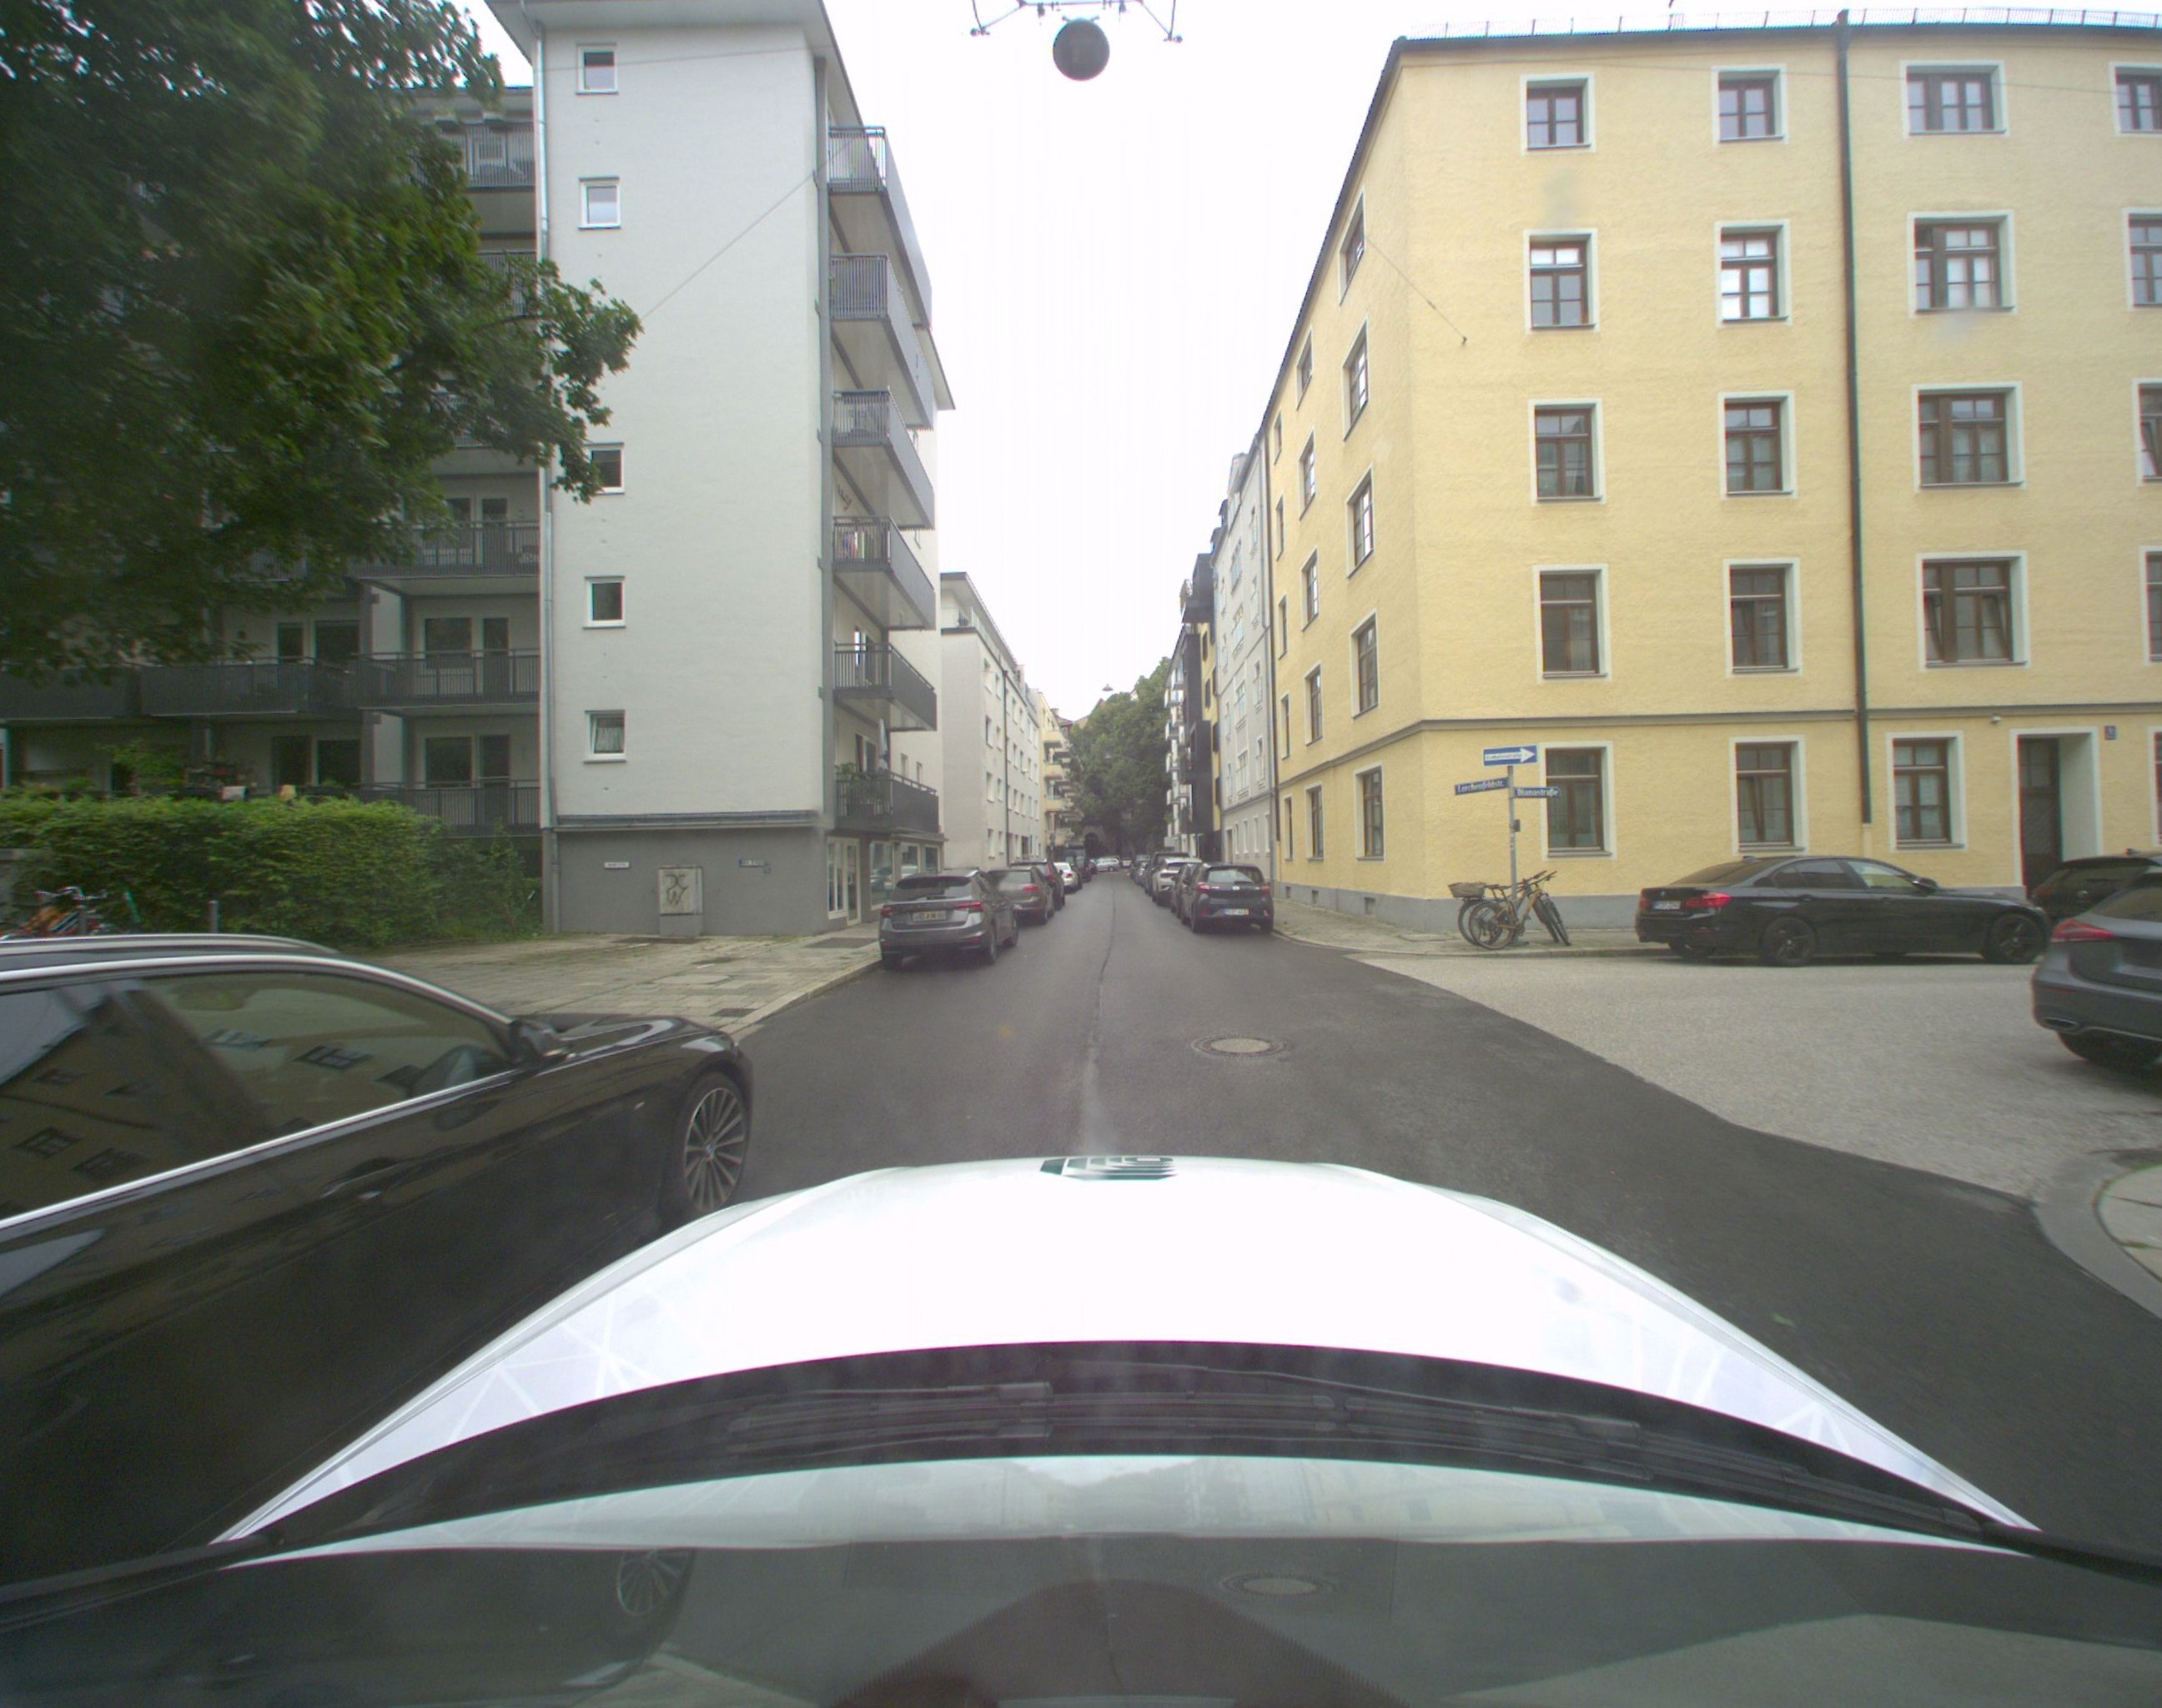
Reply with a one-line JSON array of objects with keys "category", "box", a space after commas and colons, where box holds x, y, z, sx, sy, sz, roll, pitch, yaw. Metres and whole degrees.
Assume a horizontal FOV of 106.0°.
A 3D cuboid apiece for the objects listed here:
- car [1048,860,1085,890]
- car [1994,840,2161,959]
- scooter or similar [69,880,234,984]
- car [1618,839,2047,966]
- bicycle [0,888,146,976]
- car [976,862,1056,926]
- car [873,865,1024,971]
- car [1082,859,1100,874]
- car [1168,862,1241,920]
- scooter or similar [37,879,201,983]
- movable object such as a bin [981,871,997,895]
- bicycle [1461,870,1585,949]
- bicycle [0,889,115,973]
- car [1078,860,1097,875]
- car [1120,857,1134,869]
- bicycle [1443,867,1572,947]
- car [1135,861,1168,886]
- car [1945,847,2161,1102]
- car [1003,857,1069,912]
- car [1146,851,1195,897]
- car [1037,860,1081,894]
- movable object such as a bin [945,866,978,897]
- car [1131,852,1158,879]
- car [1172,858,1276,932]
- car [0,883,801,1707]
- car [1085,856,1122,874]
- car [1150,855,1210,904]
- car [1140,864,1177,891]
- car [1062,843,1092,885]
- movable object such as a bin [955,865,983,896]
[{"category": "car", "box": [-0.755, 1.146, 45.482, 1.770, 1.453, 4.047, -4, 0, 1]}, {"category": "car", "box": [15.384, 0.582, 11.049, 3.959, 1.494, 1.712, -1, -3, 1]}, {"category": "scooter or similar", "box": [-12.122, 0.978, 10.691, 0.320, 1.202, 1.570, -2, 0, 1]}, {"category": "car", "box": [9.913, 0.617, 10.988, 4.199, 1.494, 1.711, -1, -1, -1]}, {"category": "bicycle", "box": [-13.826, 1.026, 11.038, 0.422, 1.039, 1.608, -2, 0, 1]}, {"category": "car", "box": [-1.608, 0.981, 21.417, 1.687, 1.442, 3.977, -2, 0, 0]}, {"category": "car", "box": [-2.055, 0.949, 13.751, 1.686, 1.442, 3.944, -2, 0, 2]}, {"category": "car", "box": [1.022, 1.280, 82.592, 1.636, 1.383, 3.483, -4, 0, 1]}, {"category": "car", "box": [3.426, 0.984, 23.164, 1.657, 1.469, 3.821, 1, 0, 3]}, {"category": "scooter or similar", "box": [-12.919, 0.986, 11.000, 0.343, 1.244, 1.546, -2, 0, 1]}, {"category": "movable object such as a bin", "box": [-4.074, 1.274, 36.139, 0.649, 1.020, 0.584, 0, -1, -4]}, {"category": "bicycle", "box": [6.887, 0.856, 12.713, 1.707, 1.139, 0.374, -3, 1, 0]}, {"category": "bicycle", "box": [-14.343, 1.036, 11.052, 0.512, 1.039, 1.608, -2, 0, 1]}, {"category": "car", "box": [0.659, 1.281, 78.751, 1.636, 1.383, 3.483, -4, 0, 1]}, {"category": "car", "box": [5.988, 1.153, 105.748, 1.636, 1.383, 3.747, -4, 0, 1]}, {"category": "bicycle", "box": [6.916, 0.852, 13.230, 1.802, 1.174, 0.505, -3, 1, -1]}, {"category": "car", "box": [4.502, 1.223, 52.565, 1.822, 1.454, 4.417, 2, 0, 2]}, {"category": "car", "box": [8.269, 0.663, 4.870, 4.192, 1.399, 1.999, -1, 1, -2]}, {"category": "car", "box": [-1.421, 0.946, 27.243, 1.770, 1.629, 4.416, -2, 0, 1]}, {"category": "car", "box": [3.926, 0.852, 36.290, 1.822, 1.910, 4.417, 1, 0, 2]}, {"category": "car", "box": [-1.023, 1.086, 40.380, 1.770, 1.487, 4.522, -4, 0, 2]}, {"category": "movable object such as a bin", "box": [-5.365, 1.231, 36.637, 1.161, 1.337, 1.026, -4, -1, 4]}, {"category": "car", "box": [4.866, 0.876, 62.868, 1.822, 1.999, 4.417, 2, 0, 2]}, {"category": "car", "box": [3.179, 0.856, 18.854, 1.744, 1.469, 4.344, 1, 0, 2]}, {"category": "car", "box": [-2.506, 0.882, 2.076, 1.848, 1.408, 4.385, -2, 0, 2]}, {"category": "car", "box": [2.468, 1.193, 88.628, 3.873, 1.584, 1.648, -4, -1, 0]}, {"category": "car", "box": [3.395, 0.838, 28.681, 1.676, 1.567, 4.417, 1, 0, 1]}, {"category": "car", "box": [4.412, 1.320, 46.945, 1.822, 1.454, 4.417, 2, 0, 2]}, {"category": "car", "box": [-0.253, 0.722, 60.036, 1.929, 2.802, 4.534, -4, -1, 1]}, {"category": "movable object such as a bin", "box": [-5.174, 1.226, 37.710, 1.042, 1.337, 0.994, -4, -1, 4]}]
